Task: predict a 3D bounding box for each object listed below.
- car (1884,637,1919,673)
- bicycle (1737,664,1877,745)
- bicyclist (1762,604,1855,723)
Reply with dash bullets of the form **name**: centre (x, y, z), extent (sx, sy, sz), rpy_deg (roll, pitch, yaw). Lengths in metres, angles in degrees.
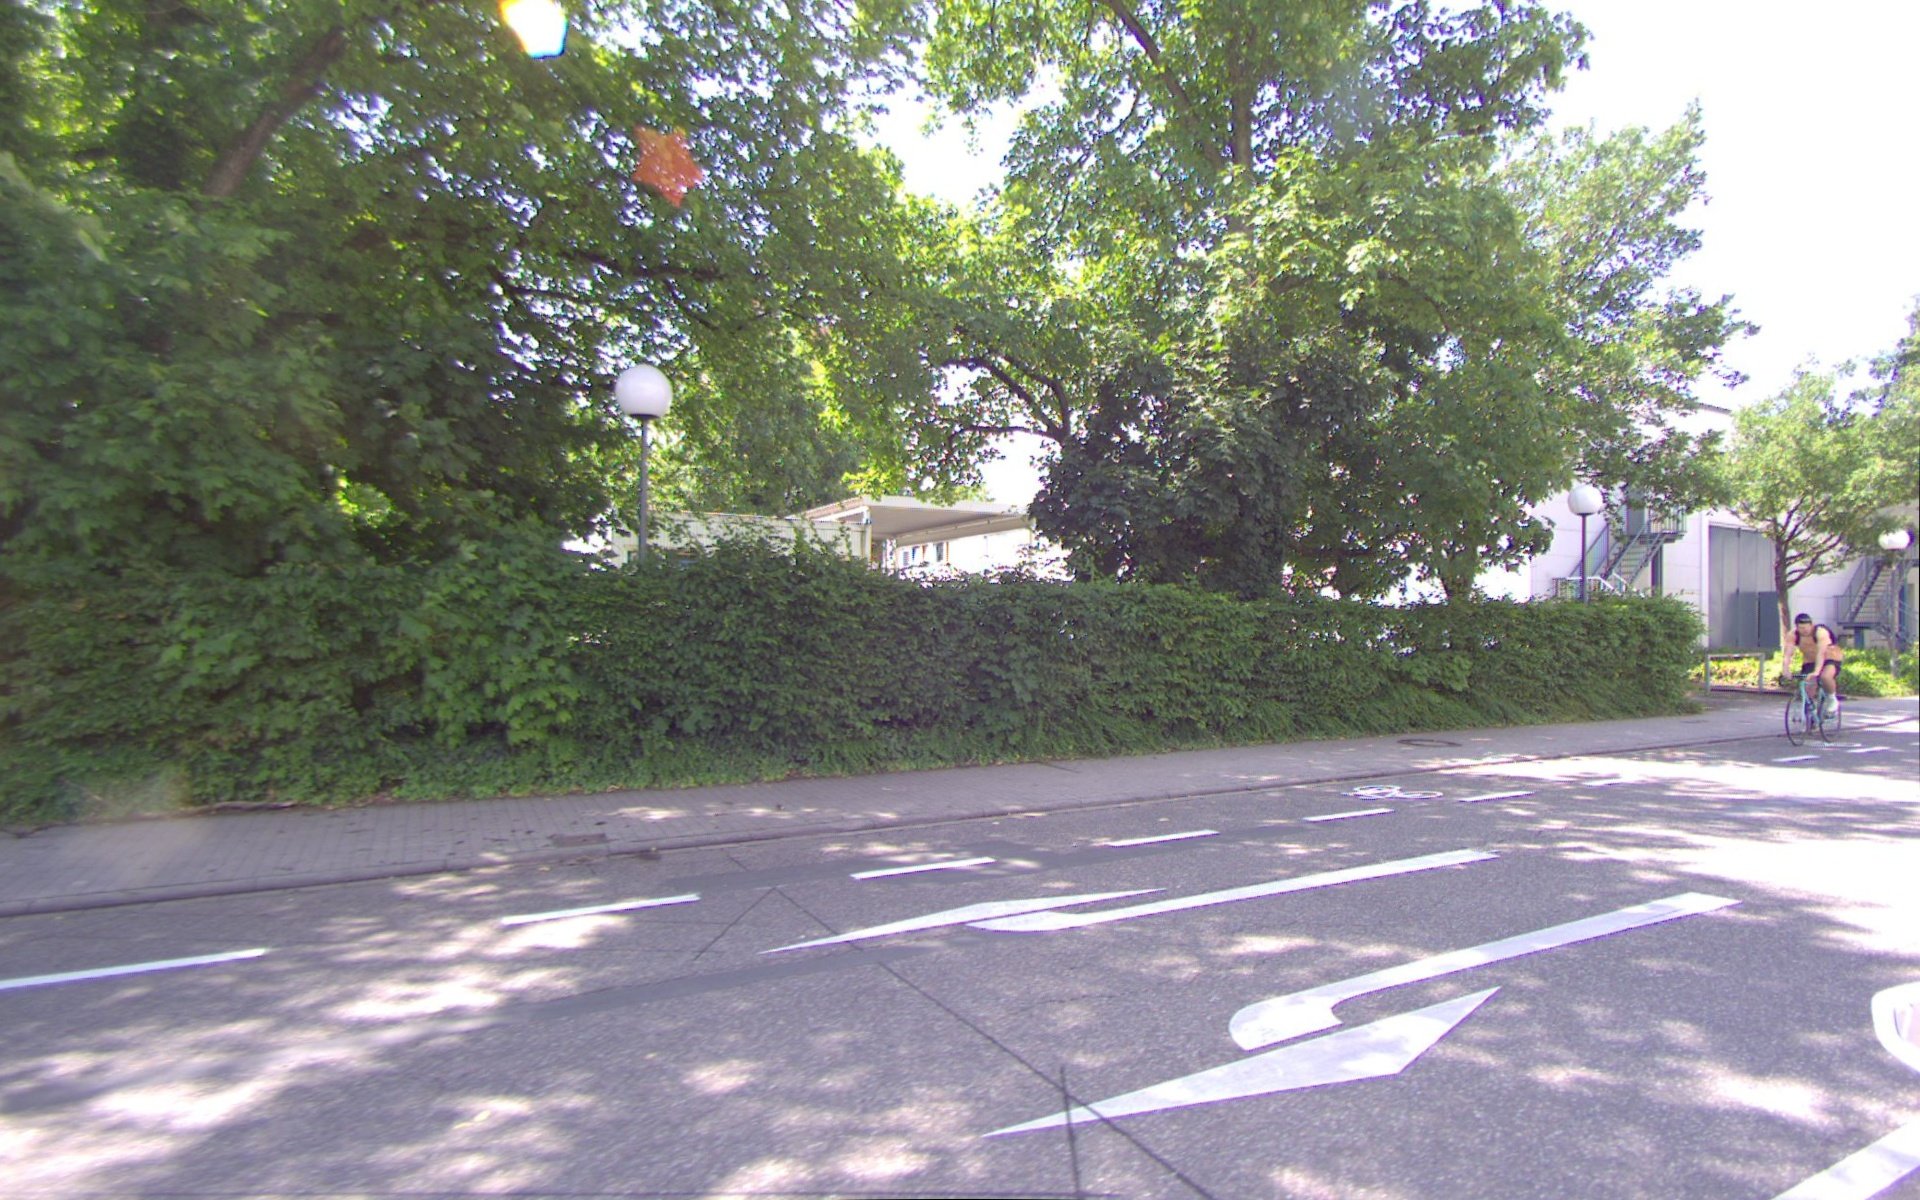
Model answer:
- **car**: centre (42.563, 2.407, 44.072), extent (4.249, 1.486, 1.820), rpy_deg (1, -1, -30)
- **bicycle**: centre (11.670, 1.403, 13.827), extent (2.183, 1.002, 0.789), rpy_deg (2, -2, -30)
- **bicyclist**: centre (11.713, 0.861, 13.871), extent (1.006, 1.568, 0.689), rpy_deg (2, -2, -30)
